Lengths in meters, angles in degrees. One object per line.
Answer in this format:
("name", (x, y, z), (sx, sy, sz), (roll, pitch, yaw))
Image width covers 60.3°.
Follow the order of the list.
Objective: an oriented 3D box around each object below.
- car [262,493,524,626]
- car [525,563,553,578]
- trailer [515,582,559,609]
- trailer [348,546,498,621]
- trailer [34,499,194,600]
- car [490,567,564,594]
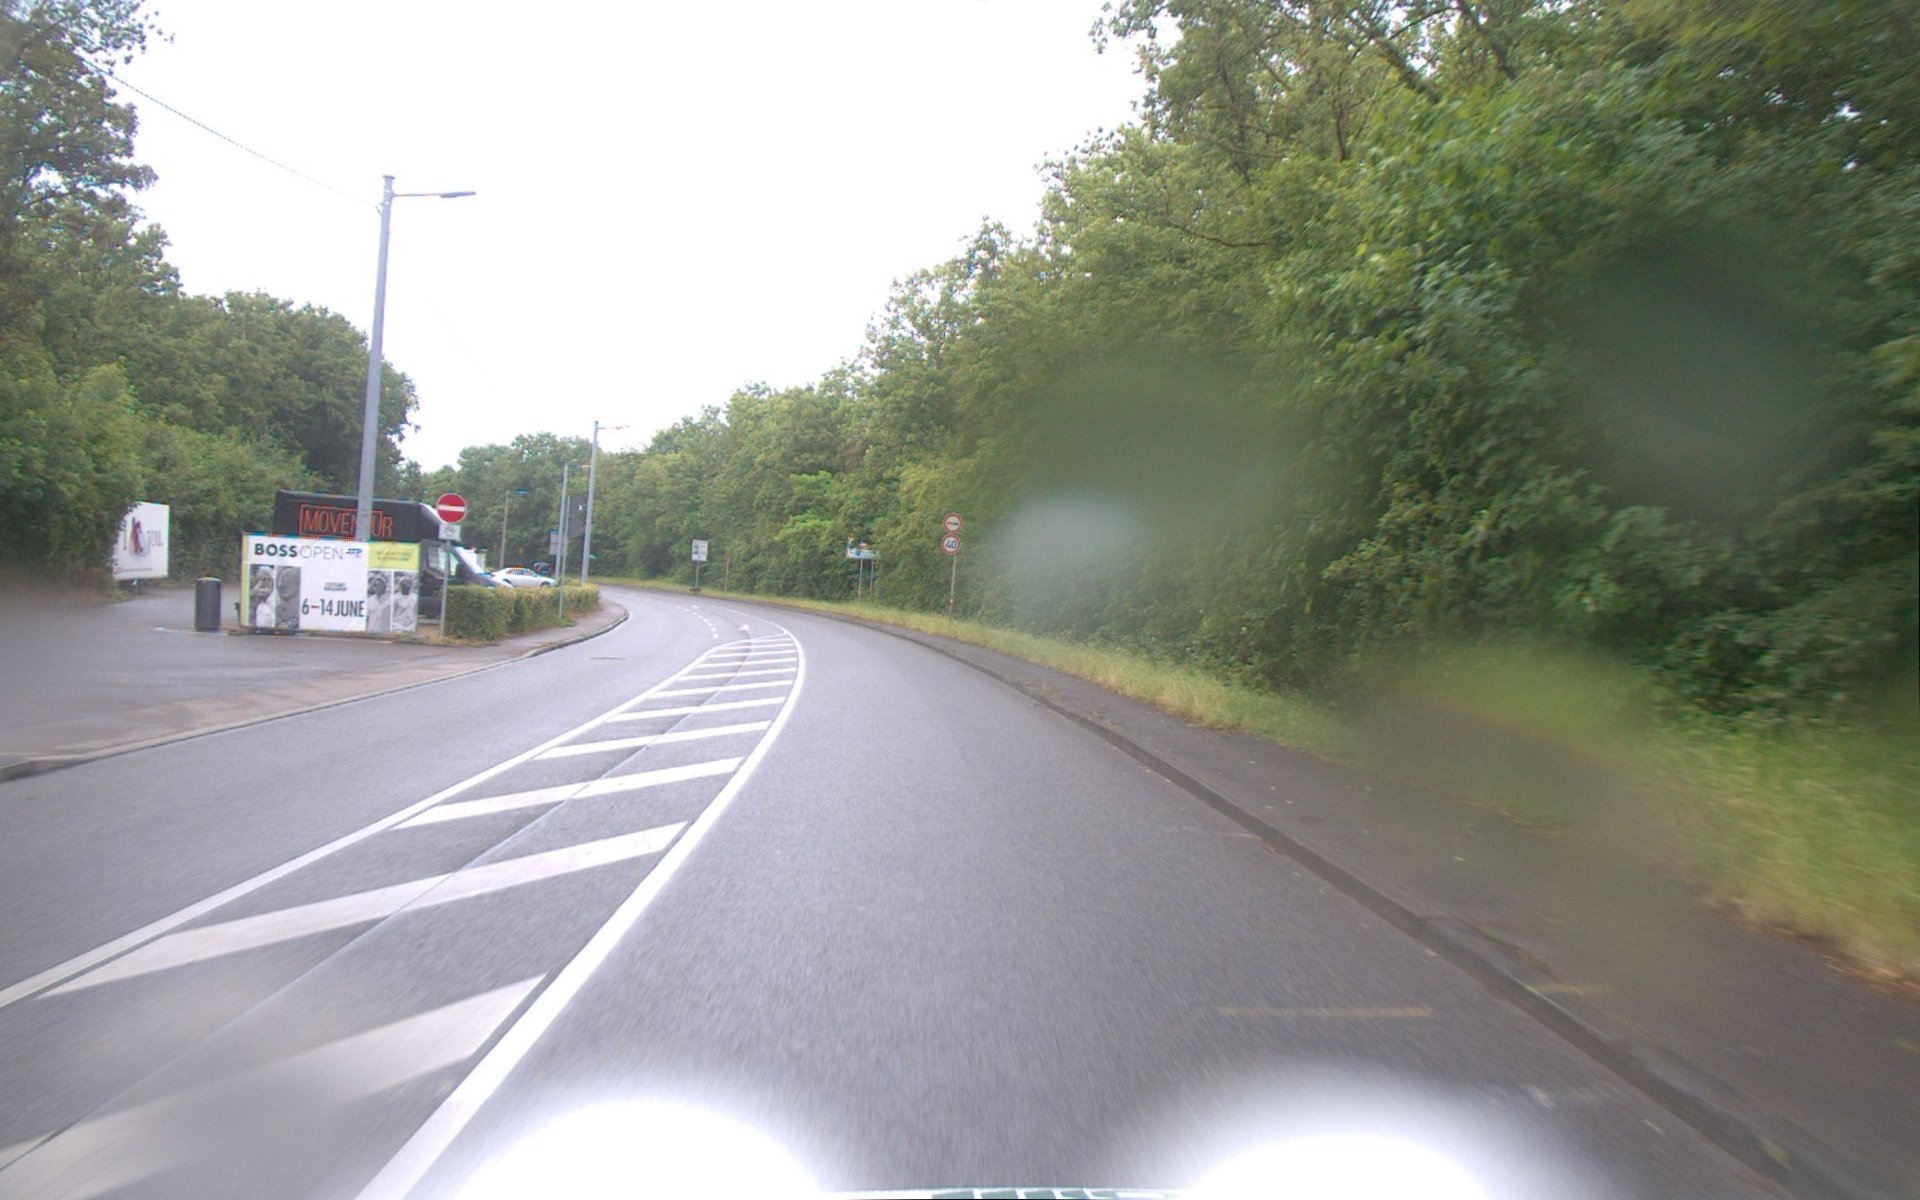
("car", (-14.971, -1.029, 44.118), (6.161, 3.168, 2.744), (2, -1, -12))
("car", (-46.055, -3.260, 181.020), (1.913, 1.524, 4.278), (2, 1, -29))
("trailer", (-17.915, -0.198, 70.046), (1.771, 1.052, 1.329), (2, 0, -15))
("trailer", (-16.001, -0.482, 49.454), (3.913, 2.088, 1.869), (2, 0, -9))
("trailer", (-26.968, -1.532, 53.109), (2.432, 2.924, 7.955), (2, 0, -11))
("car", (-28.786, -1.304, 110.009), (4.514, 1.532, 1.986), (3, 0, -24))
